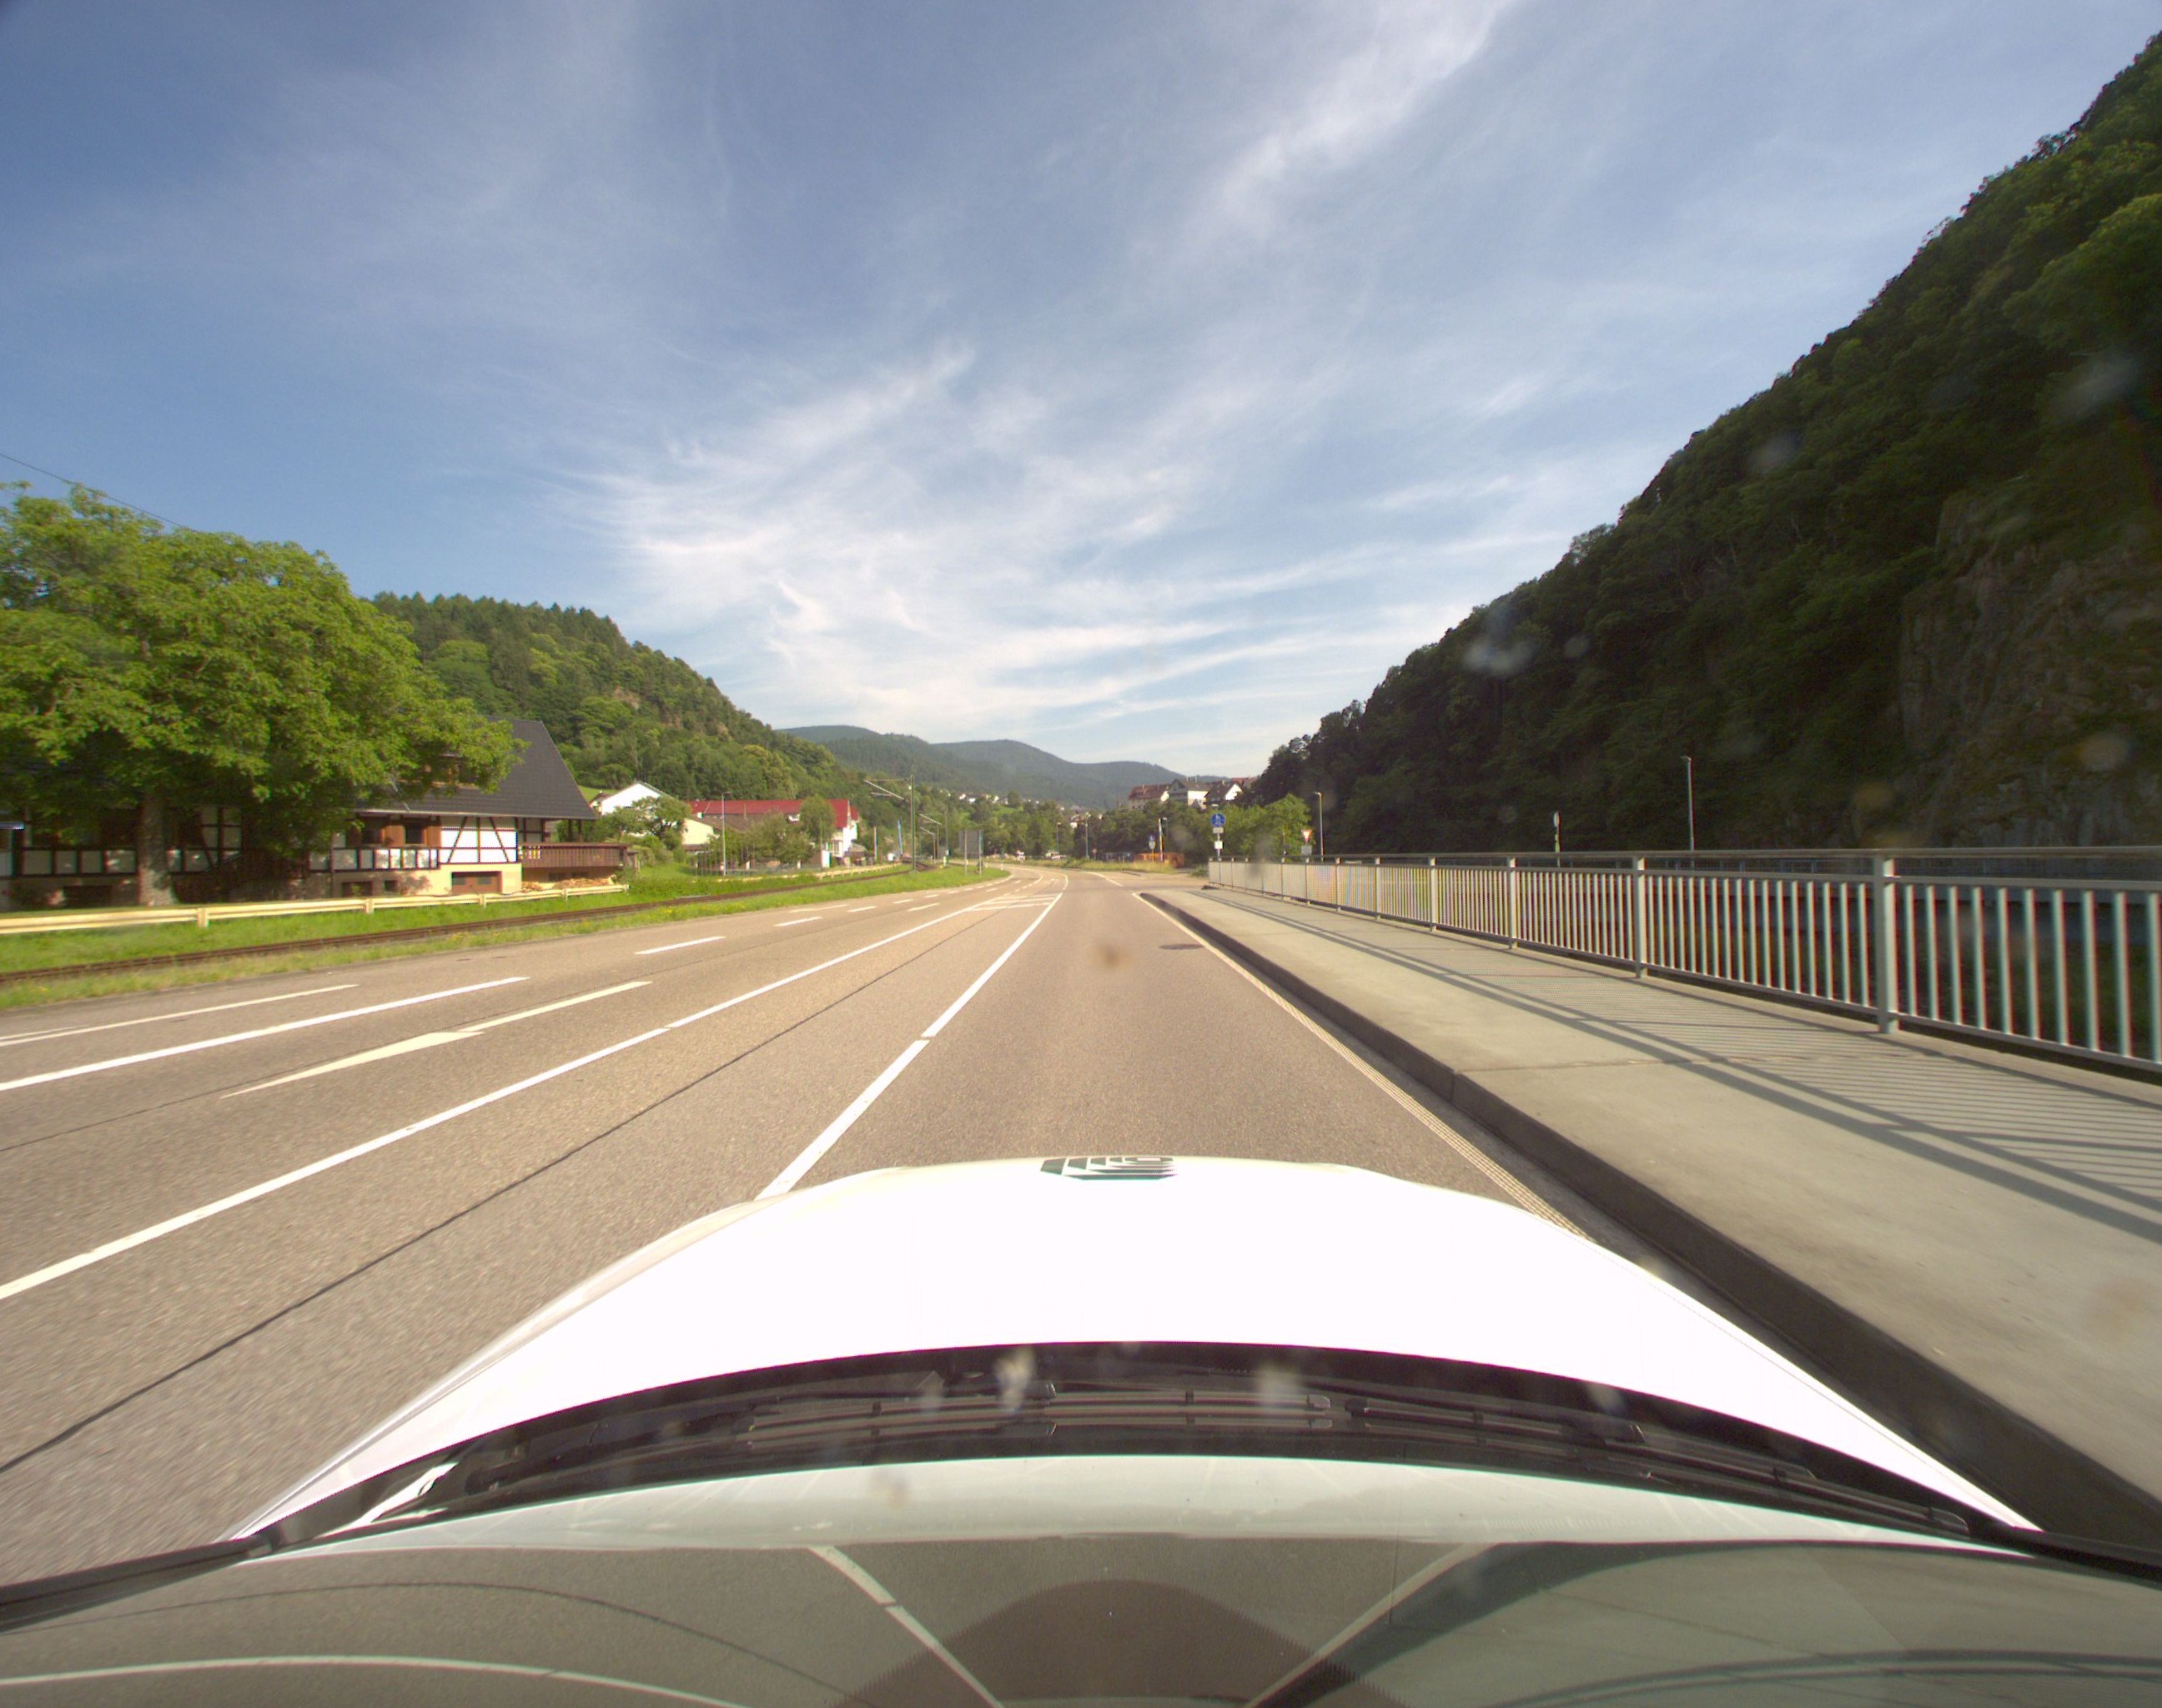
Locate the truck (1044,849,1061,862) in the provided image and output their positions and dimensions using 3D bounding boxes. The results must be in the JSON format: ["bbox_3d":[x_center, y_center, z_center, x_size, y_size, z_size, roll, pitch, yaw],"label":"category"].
[{"bbox_3d":[-8.278,0.390,235.304,3.110,3.782,8.596,0,0,-16],"label":"truck"}]

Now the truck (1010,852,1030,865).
[{"bbox_3d":[-18.804,1.297,250.542,3.118,3.782,8.573,0,0,-25],"label":"truck"}]

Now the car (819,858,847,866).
[{"bbox_3d":[-40.141,1.284,132.031,4.095,1.270,1.731,-1,0,-10],"label":"car"}]

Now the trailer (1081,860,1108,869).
[{"bbox_3d":[2.192,1.743,137.850,2.792,1.474,9.852,1,0,-10],"label":"trailer"}]
